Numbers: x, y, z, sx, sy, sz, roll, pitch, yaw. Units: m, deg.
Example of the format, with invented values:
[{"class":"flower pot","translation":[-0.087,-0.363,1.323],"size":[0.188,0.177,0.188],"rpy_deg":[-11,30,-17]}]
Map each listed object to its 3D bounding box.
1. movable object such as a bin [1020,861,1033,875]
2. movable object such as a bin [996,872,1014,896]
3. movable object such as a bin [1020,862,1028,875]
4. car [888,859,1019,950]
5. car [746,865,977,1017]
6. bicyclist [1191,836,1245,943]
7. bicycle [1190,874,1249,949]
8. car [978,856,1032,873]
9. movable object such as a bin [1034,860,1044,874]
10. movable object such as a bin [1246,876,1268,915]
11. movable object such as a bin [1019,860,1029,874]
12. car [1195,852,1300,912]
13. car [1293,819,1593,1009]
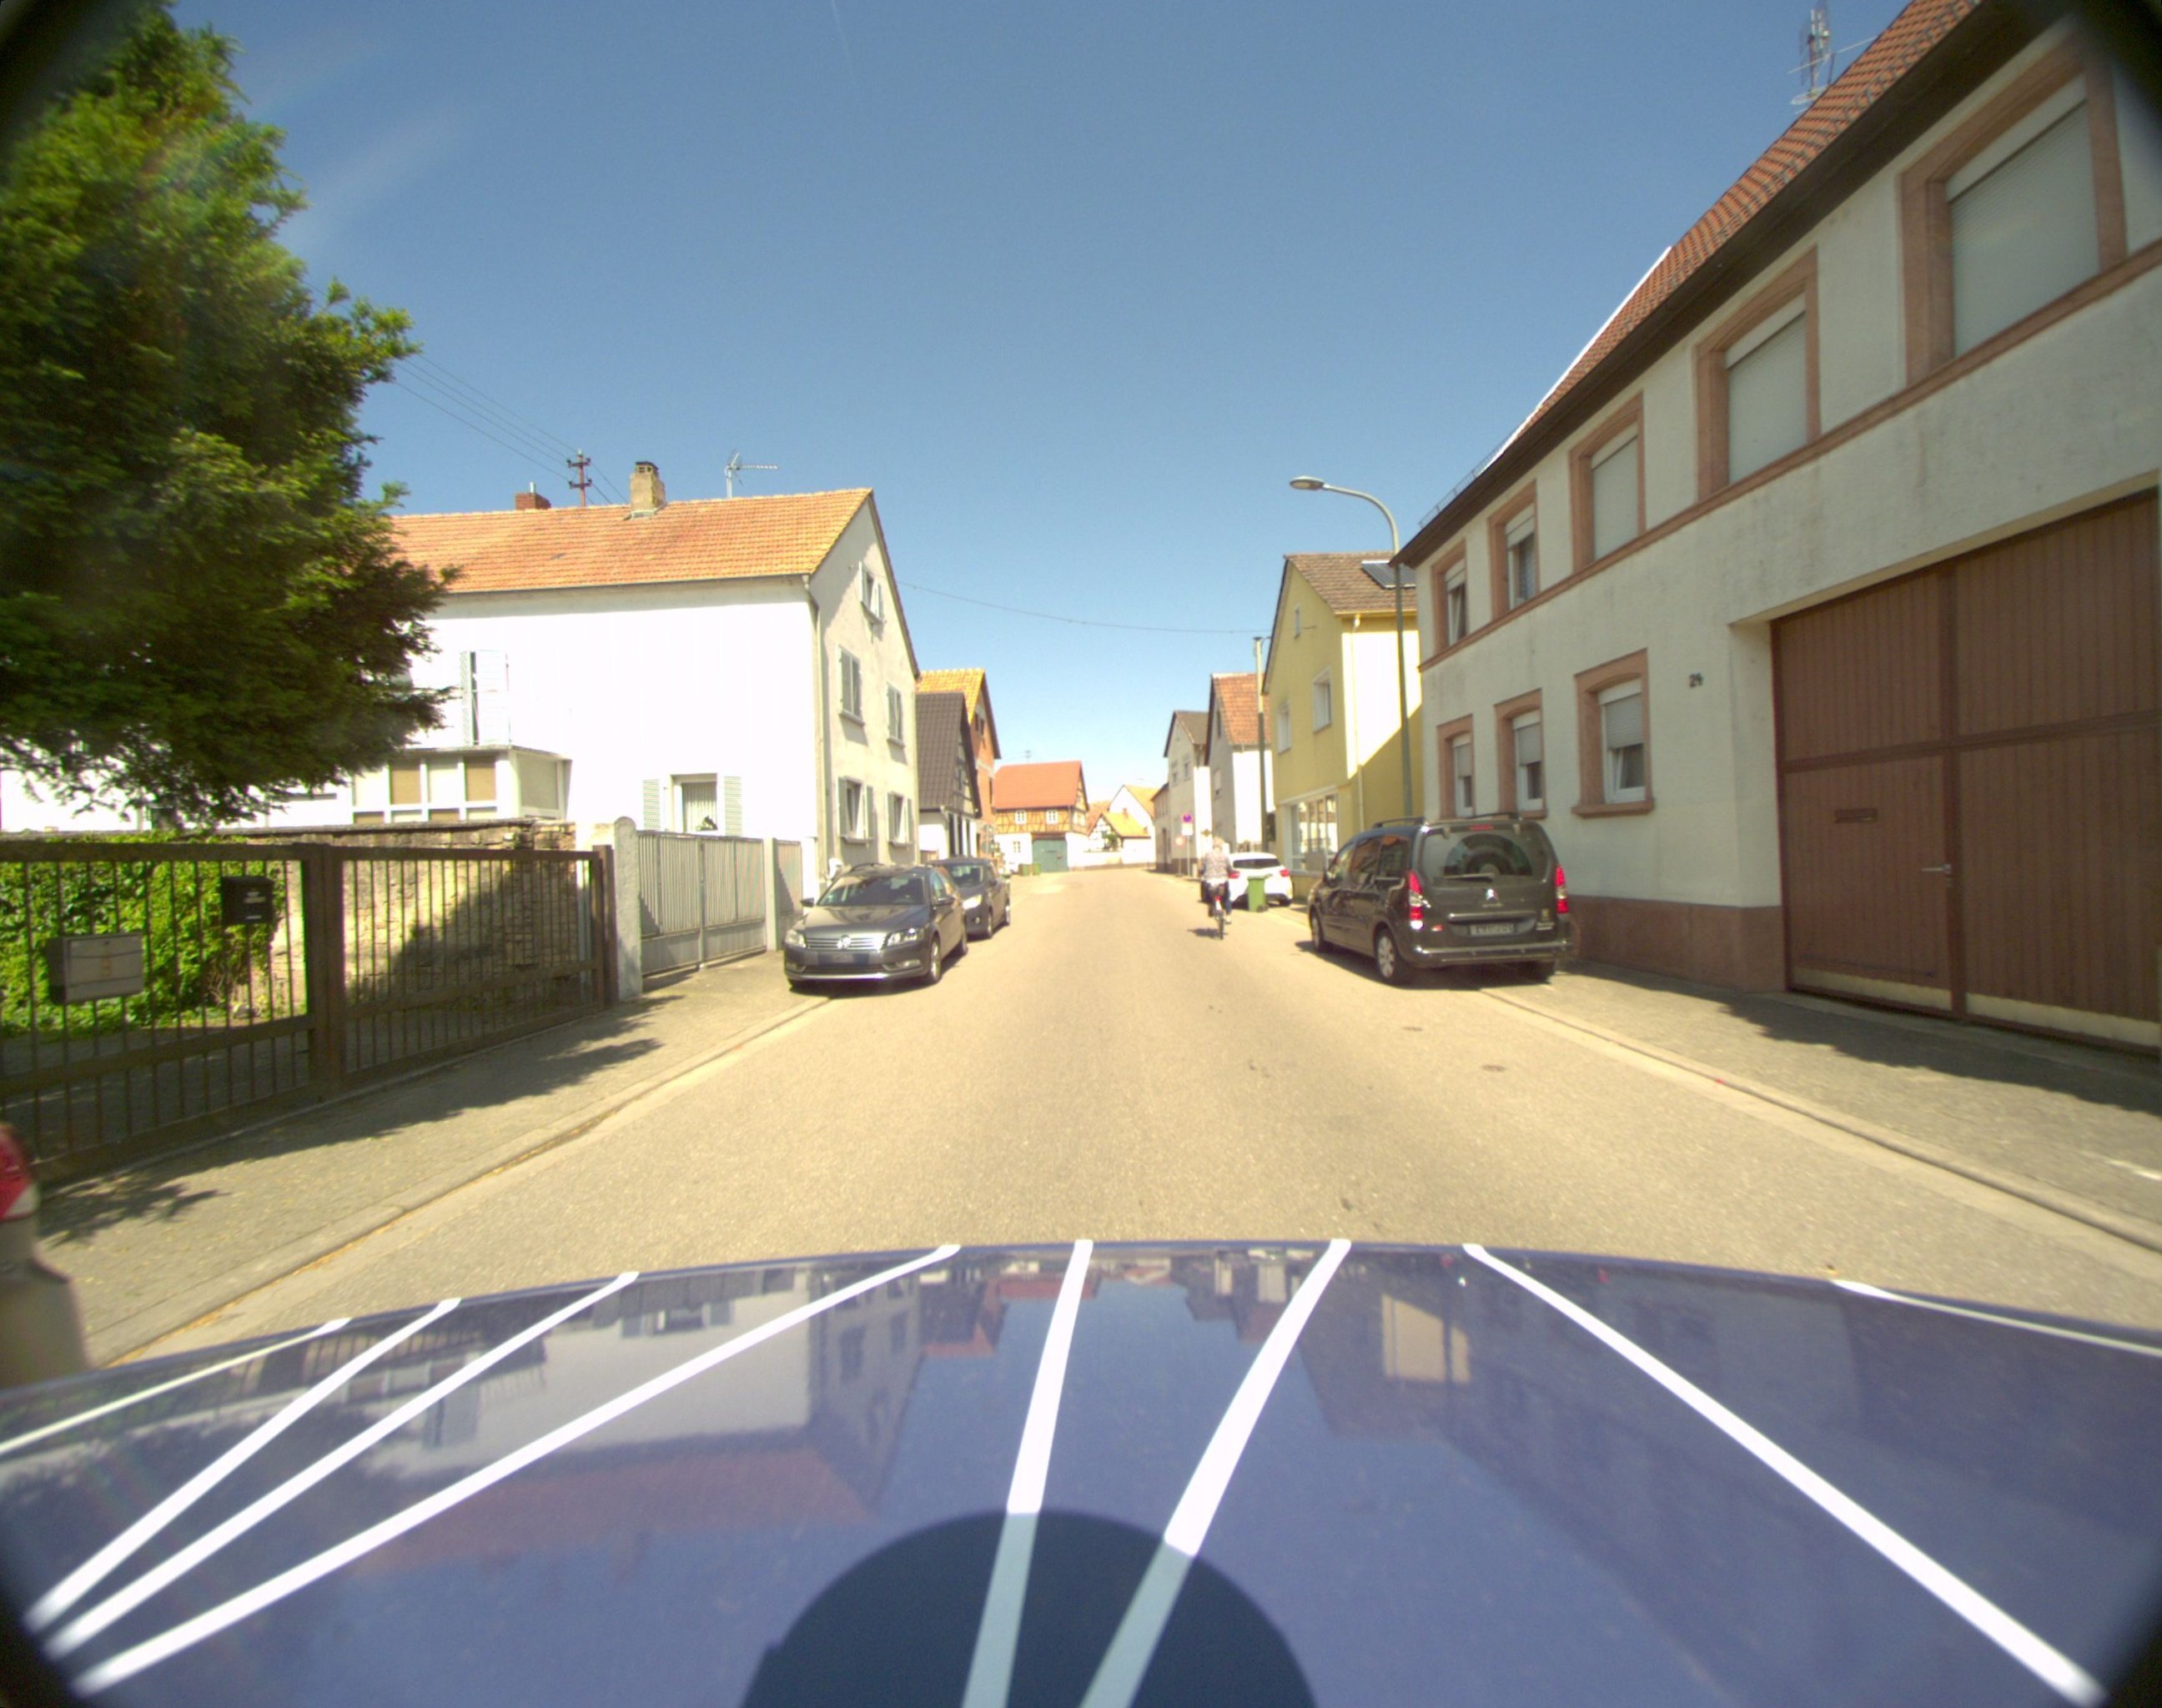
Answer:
[{"class":"movable object such as a bin","translation":[-4.316,1.126,60.202],"size":[0.763,1.066,0.671],"rpy_deg":[-2,0,-31]},{"class":"movable object such as a bin","translation":[-3.095,1.227,31.040],"size":[0.538,0.908,0.552],"rpy_deg":[-2,1,18]},{"class":"movable object such as a bin","translation":[-4.617,1.164,61.462],"size":[0.466,0.965,0.496],"rpy_deg":[-2,0,9]},{"class":"car","translation":[-2.517,0.938,16.167],"size":[1.802,1.551,4.631],"rpy_deg":[-2,0,2]},{"class":"car","translation":[-2.706,0.986,10.583],"size":[1.824,1.499,4.581],"rpy_deg":[-2,0,0]},{"class":"bicyclist","translation":[2.356,0.596,13.155],"size":[0.705,1.760,0.624],"rpy_deg":[-4,1,-2]},{"class":"bicycle","translation":[2.364,0.945,13.204],"size":[0.591,1.141,1.948],"rpy_deg":[-1,0,-2]},{"class":"car","translation":[-7.353,0.986,73.358],"size":[4.759,1.443,2.002],"rpy_deg":[-2,0,12]},{"class":"movable object such as a bin","translation":[-3.428,1.044,62.256],"size":[0.688,1.085,0.638],"rpy_deg":[-2,0,9]},{"class":"movable object such as a bin","translation":[4.309,1.013,18.597],"size":[0.425,0.899,0.497],"rpy_deg":[-2,1,19]},{"class":"movable object such as a bin","translation":[-4.835,1.106,64.499],"size":[0.721,1.075,0.755],"rpy_deg":[-2,0,6]},{"class":"car","translation":[4.489,0.707,21.195],"size":[1.839,1.455,4.270],"rpy_deg":[-2,0,-2]},{"class":"car","translation":[4.216,0.593,9.747],"size":[1.839,1.827,4.354],"rpy_deg":[-2,0,2]}]
